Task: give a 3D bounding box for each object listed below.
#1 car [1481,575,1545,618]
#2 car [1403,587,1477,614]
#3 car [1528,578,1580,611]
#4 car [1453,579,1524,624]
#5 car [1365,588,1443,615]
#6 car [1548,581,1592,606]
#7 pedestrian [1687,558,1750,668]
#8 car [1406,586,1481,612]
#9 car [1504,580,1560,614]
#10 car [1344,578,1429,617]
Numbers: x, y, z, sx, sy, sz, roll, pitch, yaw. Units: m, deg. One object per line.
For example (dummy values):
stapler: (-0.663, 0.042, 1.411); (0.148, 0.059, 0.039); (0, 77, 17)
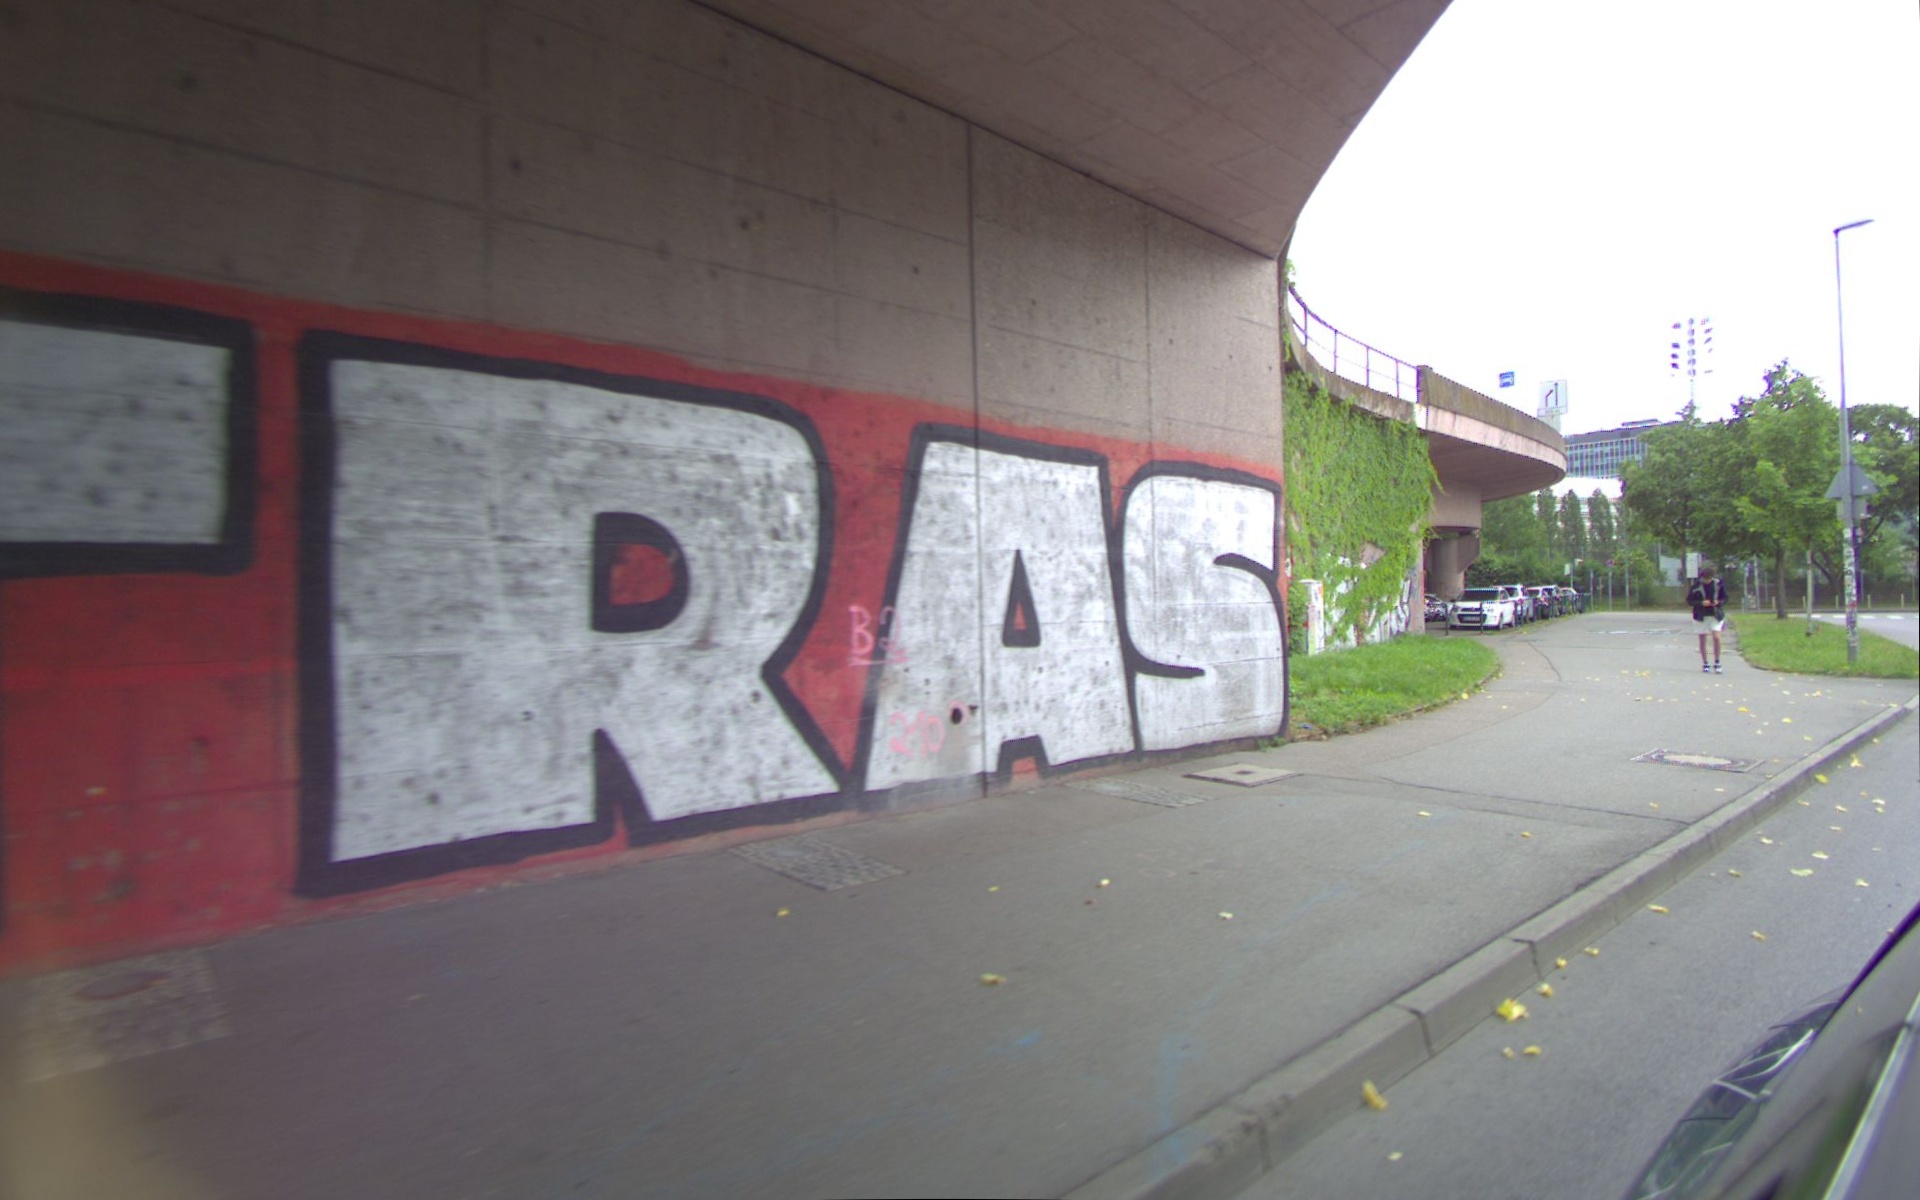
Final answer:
car: (21.591, -0.156, 39.454); (1.606, 1.550, 3.866); (-2, -1, 37)
car: (25.419, 0.009, 53.657); (3.302, 1.321, 1.465); (0, 1, 43)
car: (28.243, -0.271, 48.057); (1.617, 1.391, 4.123); (-7, -3, 36)
car: (18.477, 0.033, 35.316); (1.602, 1.463, 3.428); (-1, 1, 38)
car: (22.132, 0.062, 50.545); (3.308, 1.311, 1.330); (-1, 0, 44)
car: (31.636, -0.344, 52.407); (1.618, 1.254, 4.006); (-1, 0, 36)
pedestrian: (13.676, 0.200, 18.278); (0.817, 1.903, 1.166); (2, 2, 36)
car: (26.632, -0.067, 55.772); (3.460, 1.401, 1.404); (0, 1, 42)
car: (24.848, -0.154, 43.892); (1.618, 1.332, 3.727); (-3, -1, 37)
car: (19.648, -0.107, 46.668); (3.308, 1.709, 1.414); (-2, -1, 44)
